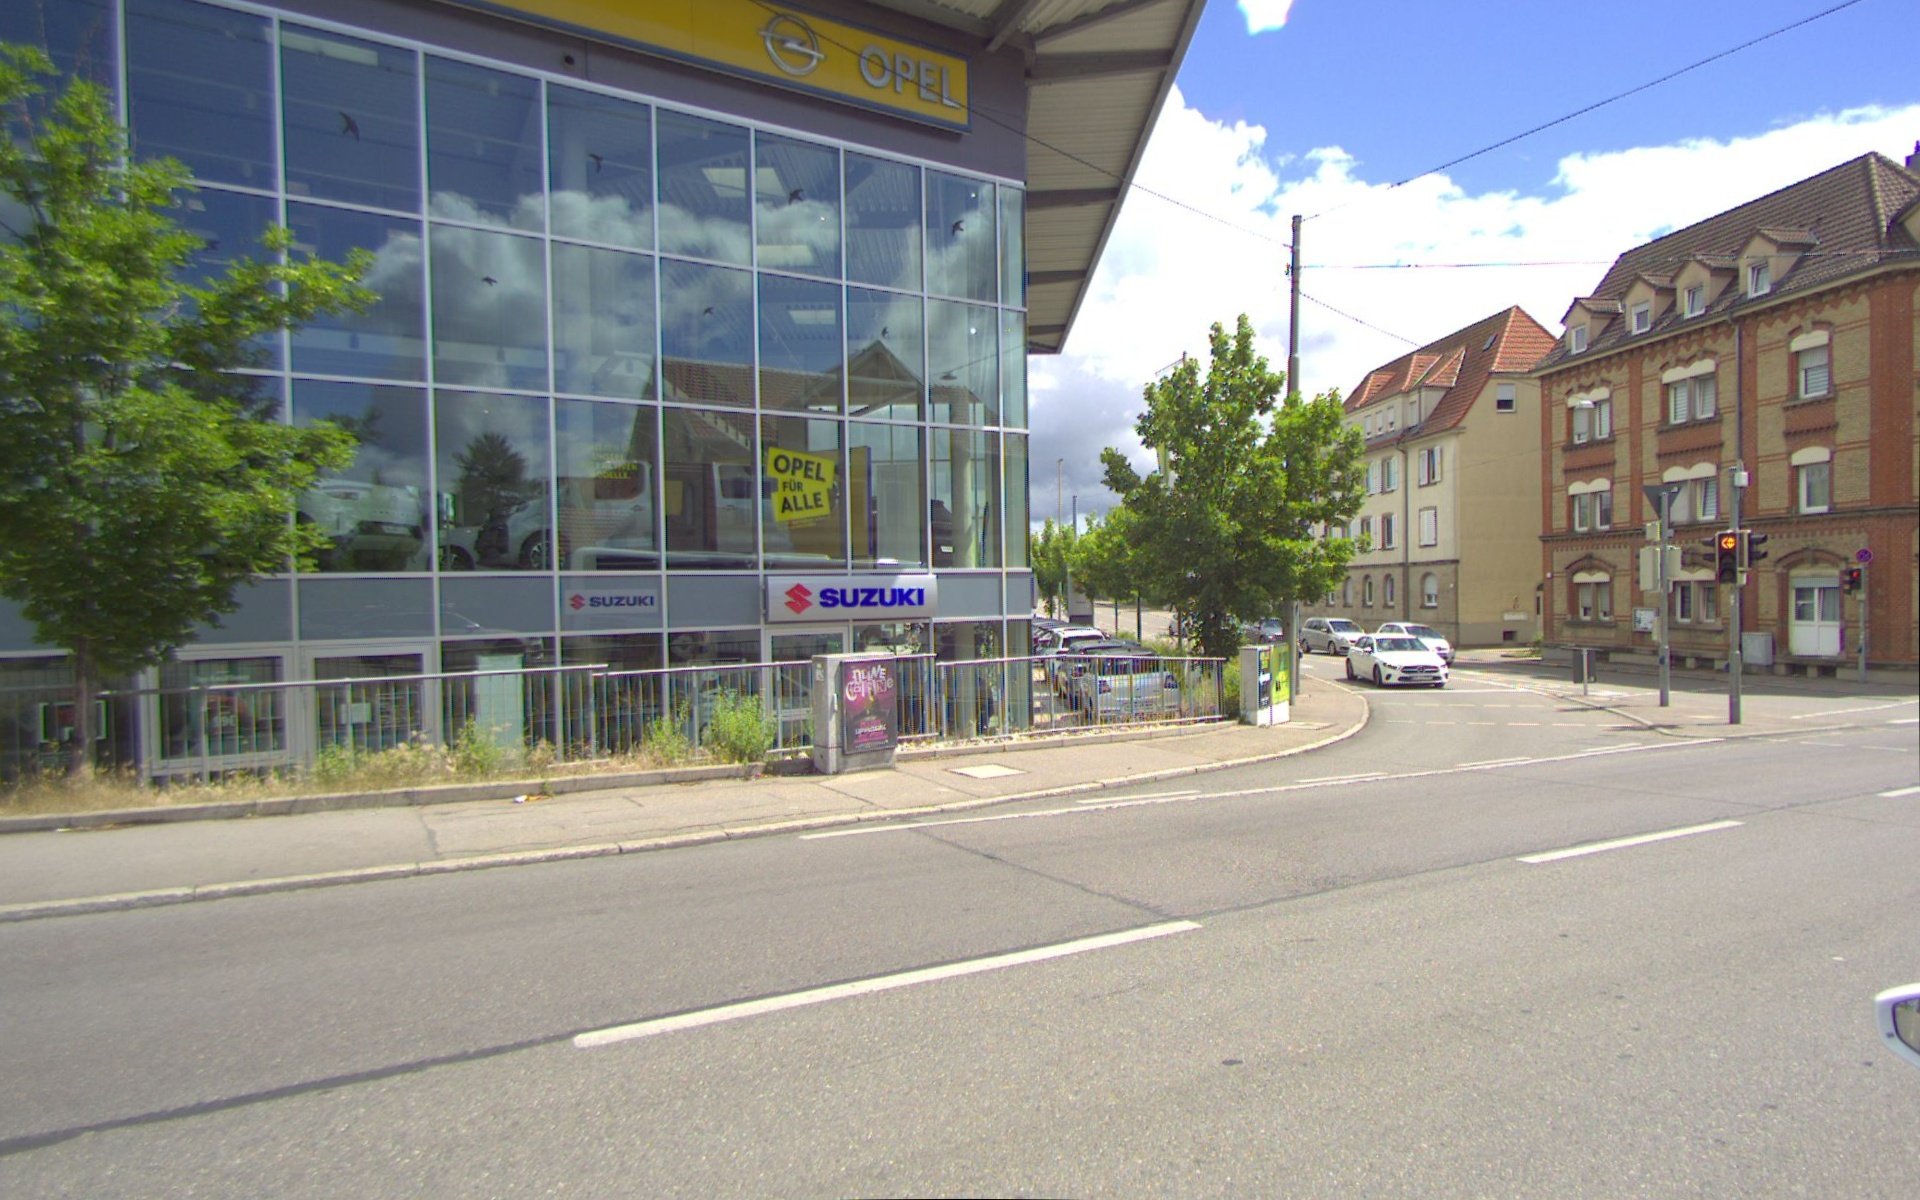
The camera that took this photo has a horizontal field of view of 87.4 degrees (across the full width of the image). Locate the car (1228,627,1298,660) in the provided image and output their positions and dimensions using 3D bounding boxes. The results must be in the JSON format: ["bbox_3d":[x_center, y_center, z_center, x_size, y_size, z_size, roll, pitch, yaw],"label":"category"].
[{"bbox_3d":[15.333,2.185,51.015,1.963,1.539,3.996,1,-1,-7],"label":"car"}]

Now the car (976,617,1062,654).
[{"bbox_3d":[2.648,1.585,45.863,1.974,1.599,4.476,1,-1,-26],"label":"car"}]

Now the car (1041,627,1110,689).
[{"bbox_3d":[3.281,1.633,29.089,1.487,1.596,3.414,1,-1,-2],"label":"car"}]

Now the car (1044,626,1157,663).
[{"bbox_3d":[5.166,1.633,37.205,3.921,1.202,1.818,1,-1,0],"label":"car"}]

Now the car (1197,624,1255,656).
[{"bbox_3d":[14.829,2.197,56.211,1.961,1.607,4.345,1,0,-2],"label":"car"}]

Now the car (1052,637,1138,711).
[{"bbox_3d":[3.231,1.754,24.695,1.487,1.543,3.792,1,-1,-2],"label":"car"}]

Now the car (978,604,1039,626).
[{"bbox_3d":[3.217,1.000,66.881,3.921,1.311,1.818,1,-1,0],"label":"car"}]

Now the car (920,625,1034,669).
[{"bbox_3d":[0.641,1.703,37.221,3.919,1.478,1.605,1,-1,15],"label":"car"}]

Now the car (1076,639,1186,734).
[{"bbox_3d":[3.396,1.689,20.546,1.720,1.596,3.687,2,-1,2],"label":"car"}]

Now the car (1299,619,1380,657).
[{"bbox_3d":[16.736,1.643,44.509,1.715,1.539,3.996,1,-1,-7],"label":"car"}]

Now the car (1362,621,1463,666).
[{"bbox_3d":[17.063,1.609,38.083,1.670,1.517,3.995,1,-1,-7],"label":"car"}]

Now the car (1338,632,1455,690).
[{"bbox_3d":[12.369,1.685,28.770,1.825,1.466,4.394,1,-1,6],"label":"car"}]
